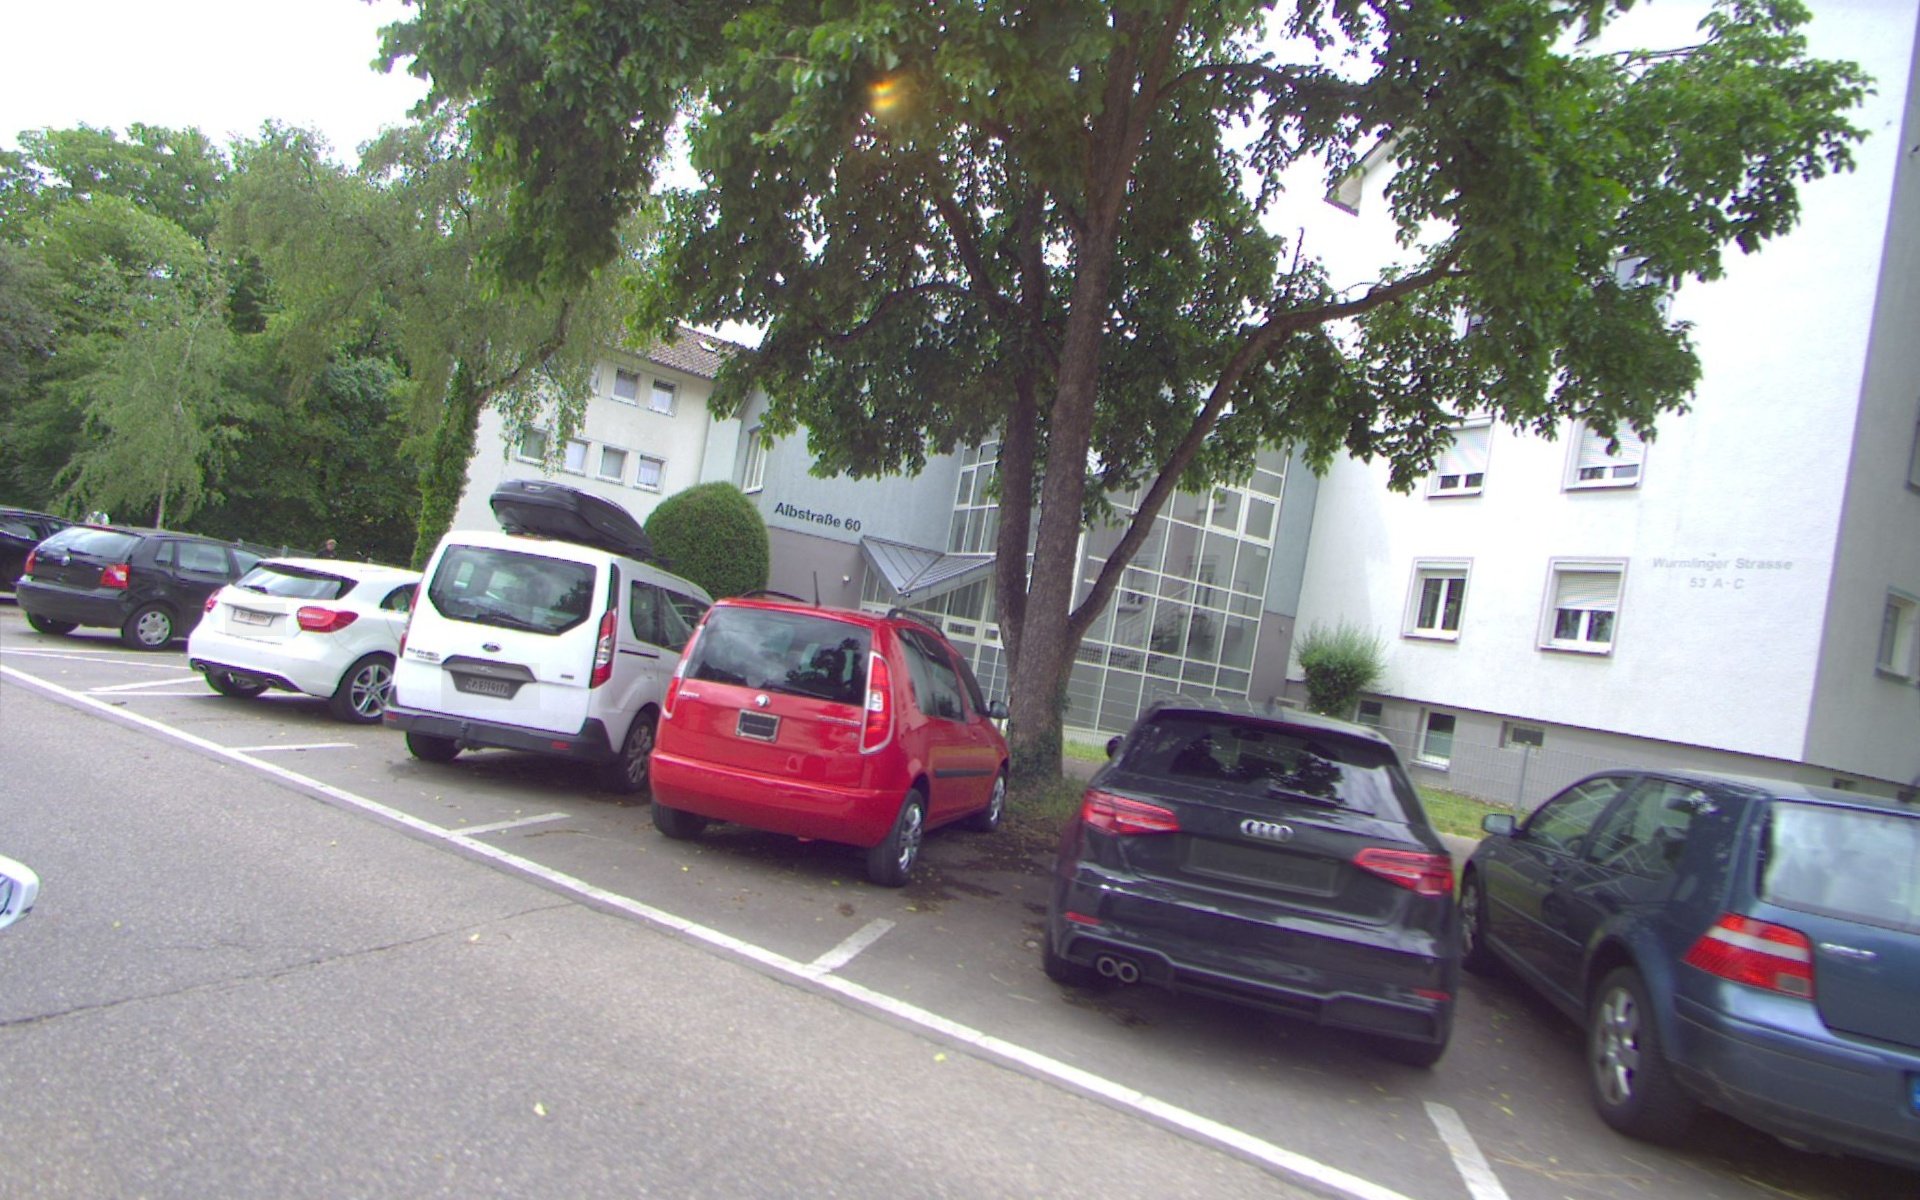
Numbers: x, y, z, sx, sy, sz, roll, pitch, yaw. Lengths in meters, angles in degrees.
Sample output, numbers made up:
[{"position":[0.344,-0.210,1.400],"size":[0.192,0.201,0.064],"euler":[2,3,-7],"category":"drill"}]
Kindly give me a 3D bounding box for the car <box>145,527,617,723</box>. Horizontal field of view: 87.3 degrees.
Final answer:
[{"position":[-5.745,0.401,10.662],"size":[1.882,1.464,3.988],"euler":[8,-4,17],"category":"car"}]

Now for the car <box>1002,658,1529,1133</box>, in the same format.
[{"position":[1.565,1.259,5.741],"size":[1.723,1.420,4.050],"euler":[8,-4,14],"category":"car"}]

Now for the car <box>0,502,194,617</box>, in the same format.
[{"position":[-14.592,-0.721,15.692],"size":[1.809,1.464,3.905],"euler":[8,-3,8],"category":"car"}]

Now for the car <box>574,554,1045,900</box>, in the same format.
[{"position":[-0.736,0.875,7.587],"size":[1.849,1.637,4.018],"euler":[8,-4,16],"category":"car"}]

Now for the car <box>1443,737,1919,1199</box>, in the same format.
[{"position":[3.727,1.561,4.879],"size":[1.723,1.420,3.986],"euler":[8,-4,17],"category":"car"}]

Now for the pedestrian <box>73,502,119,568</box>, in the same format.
[{"position":[-24.117,-1.815,28.088],"size":[0.732,1.690,0.650],"euler":[7,-2,37],"category":"pedestrian"}]

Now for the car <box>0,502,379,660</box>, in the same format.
[{"position":[-10.178,-0.119,13.520],"size":[1.809,1.464,3.906],"euler":[8,-4,12],"category":"car"}]

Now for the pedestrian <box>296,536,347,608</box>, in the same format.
[{"position":[-15.396,-0.673,24.251],"size":[0.732,1.621,0.650],"euler":[7,-2,37],"category":"pedestrian"}]

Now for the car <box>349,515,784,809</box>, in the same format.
[{"position":[-3.097,0.573,9.016],"size":[1.753,1.773,4.107],"euler":[9,-3,5],"category":"car"}]
